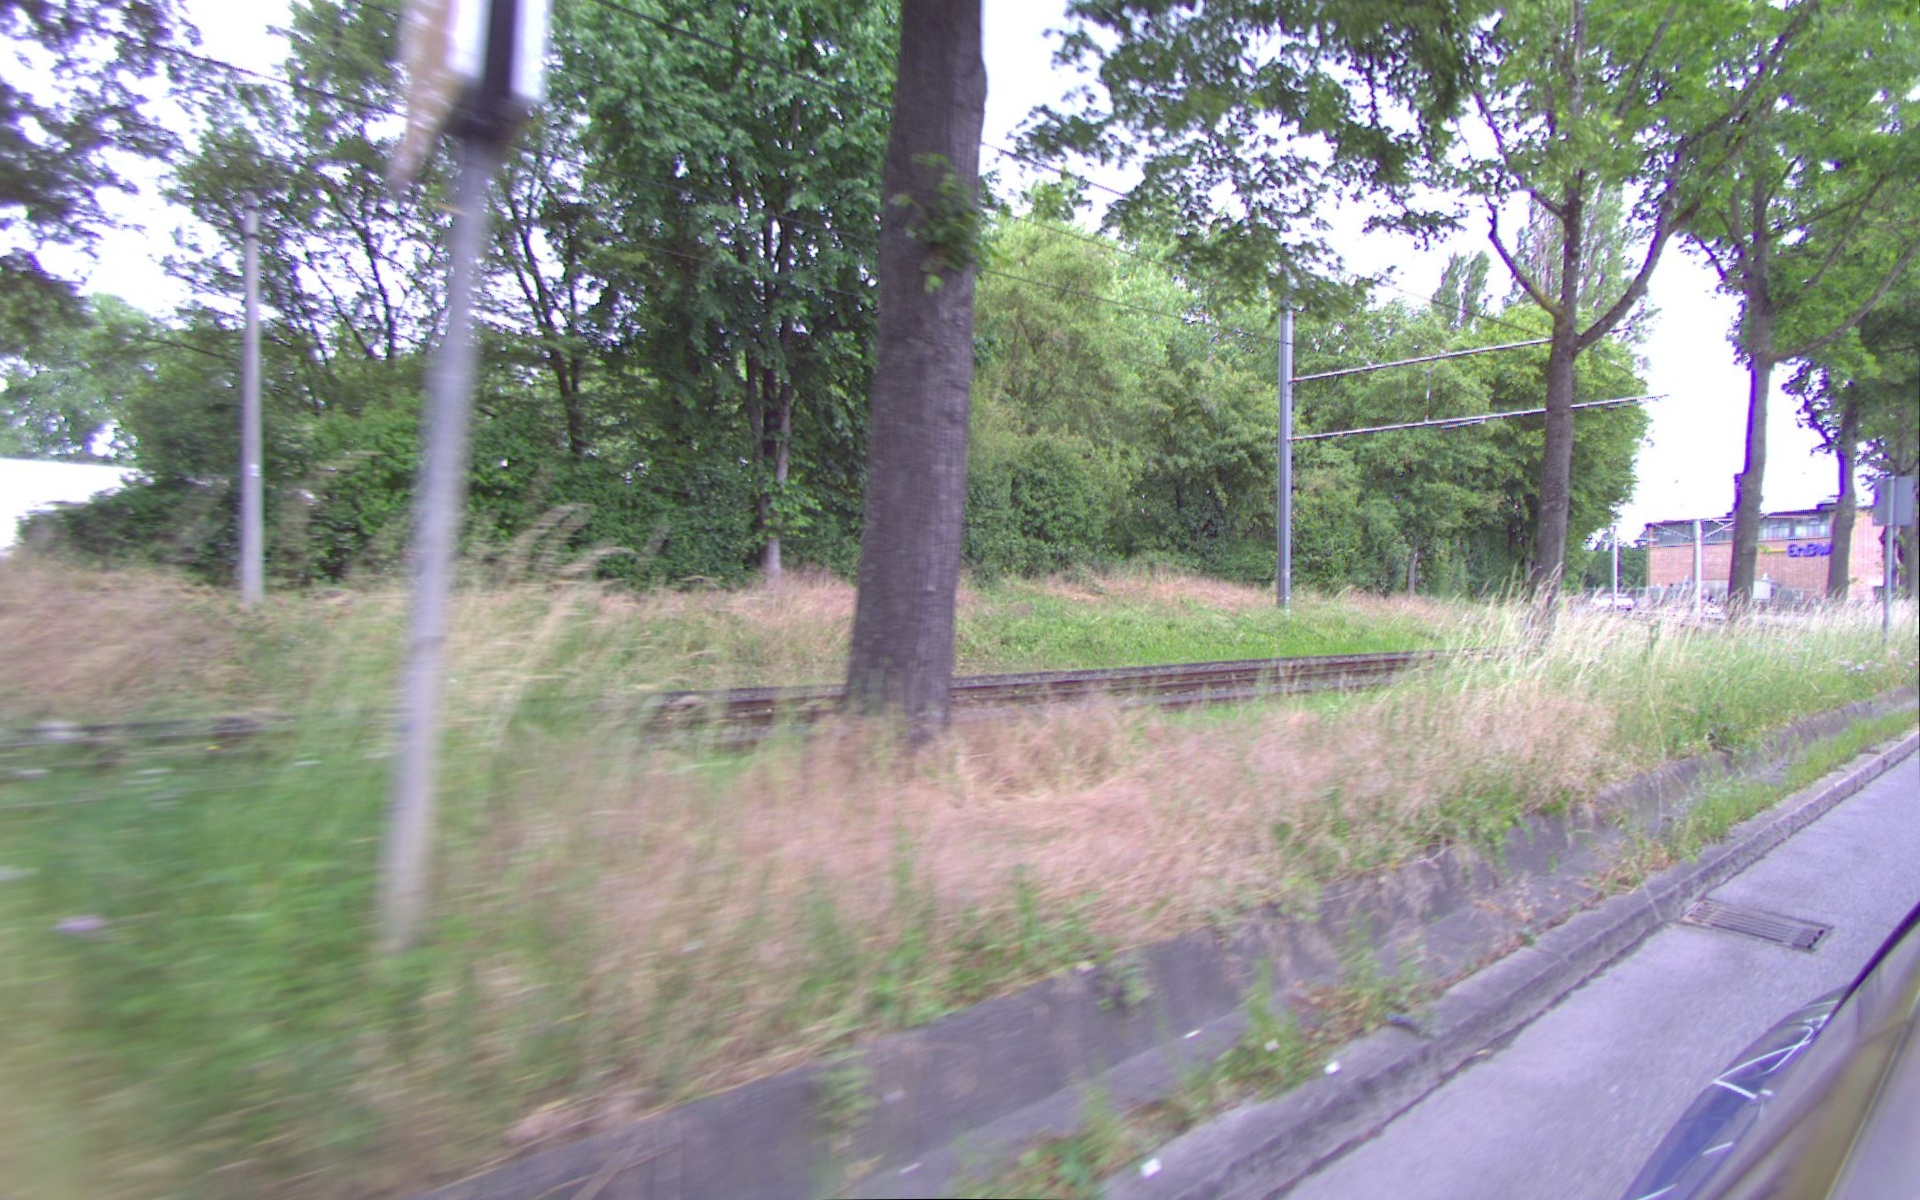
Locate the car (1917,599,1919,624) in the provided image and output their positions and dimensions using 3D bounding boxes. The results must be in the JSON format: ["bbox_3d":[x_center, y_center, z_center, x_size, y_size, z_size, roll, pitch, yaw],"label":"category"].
[{"bbox_3d":[58.420,0.645,59.678,1.567,1.505,3.668,-2,-1,22],"label":"car"}]

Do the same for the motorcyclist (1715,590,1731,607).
[{"bbox_3d":[61.821,-0.137,81.992,0.609,1.373,0.841,0,0,-2],"label":"motorcyclist"}]

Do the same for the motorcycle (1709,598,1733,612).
[{"bbox_3d":[61.828,0.391,82.238,0.671,1.074,1.720,0,0,-2],"label":"motorcycle"}]

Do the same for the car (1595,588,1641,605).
[{"bbox_3d":[61.552,-0.278,94.685,1.718,1.506,3.656,-1,-1,-4],"label":"car"}]
